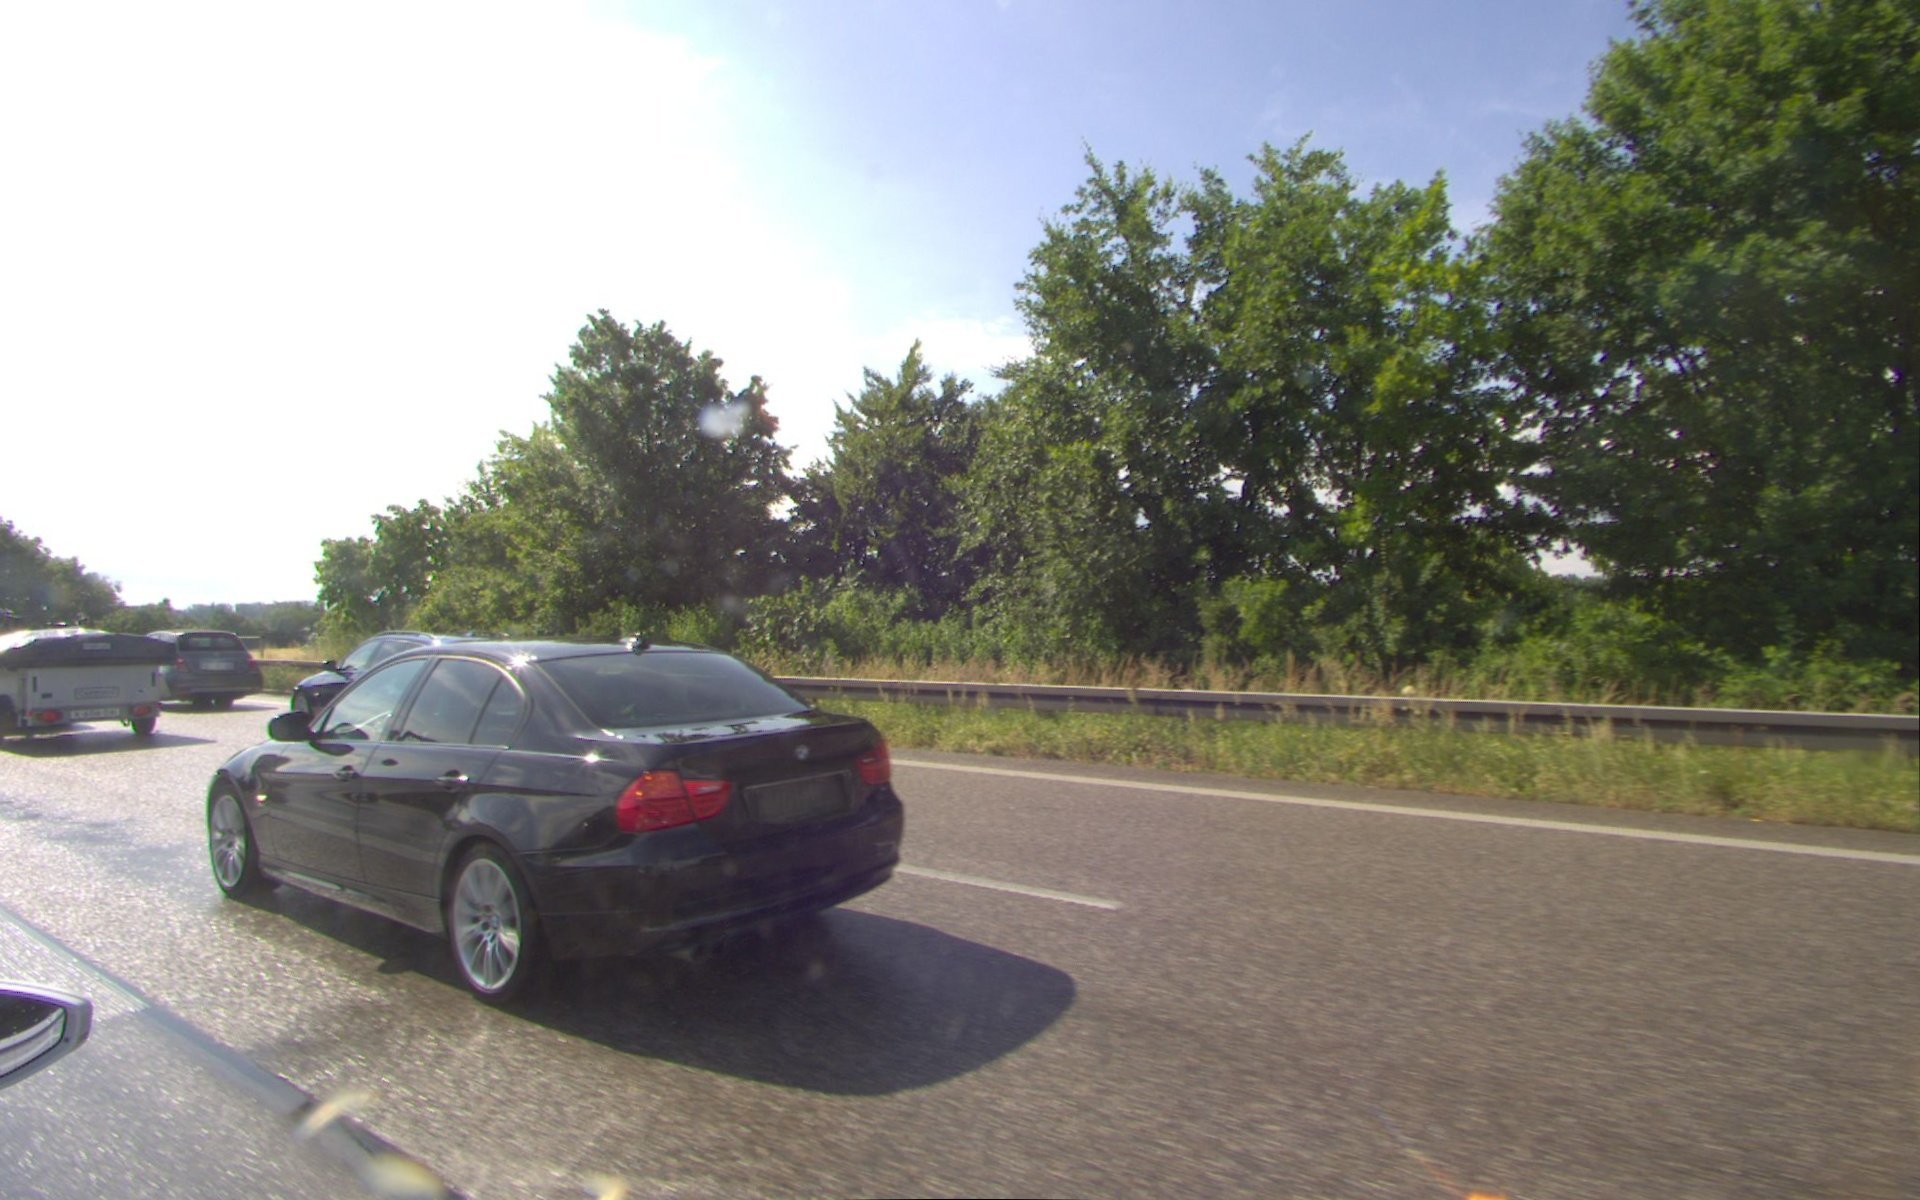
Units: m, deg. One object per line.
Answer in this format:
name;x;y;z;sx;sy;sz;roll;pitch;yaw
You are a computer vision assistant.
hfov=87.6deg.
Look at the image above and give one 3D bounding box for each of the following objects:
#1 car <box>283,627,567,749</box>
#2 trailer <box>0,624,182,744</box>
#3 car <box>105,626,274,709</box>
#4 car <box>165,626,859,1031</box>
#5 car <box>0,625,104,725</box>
car;-7.358;1.075;13.633;4.233;1.419;1.765;-1;-2;36
trailer;-12.850;1.078;14.132;4.092;1.460;1.850;-1;-1;35
car;-15.302;1.270;19.839;3.622;1.502;1.667;-1;-1;35
car;-2.541;0.863;5.384;3.784;1.439;1.735;-1;-1;35
car;-15.616;1.140;16.095;4.201;1.460;1.850;-1;-1;35
